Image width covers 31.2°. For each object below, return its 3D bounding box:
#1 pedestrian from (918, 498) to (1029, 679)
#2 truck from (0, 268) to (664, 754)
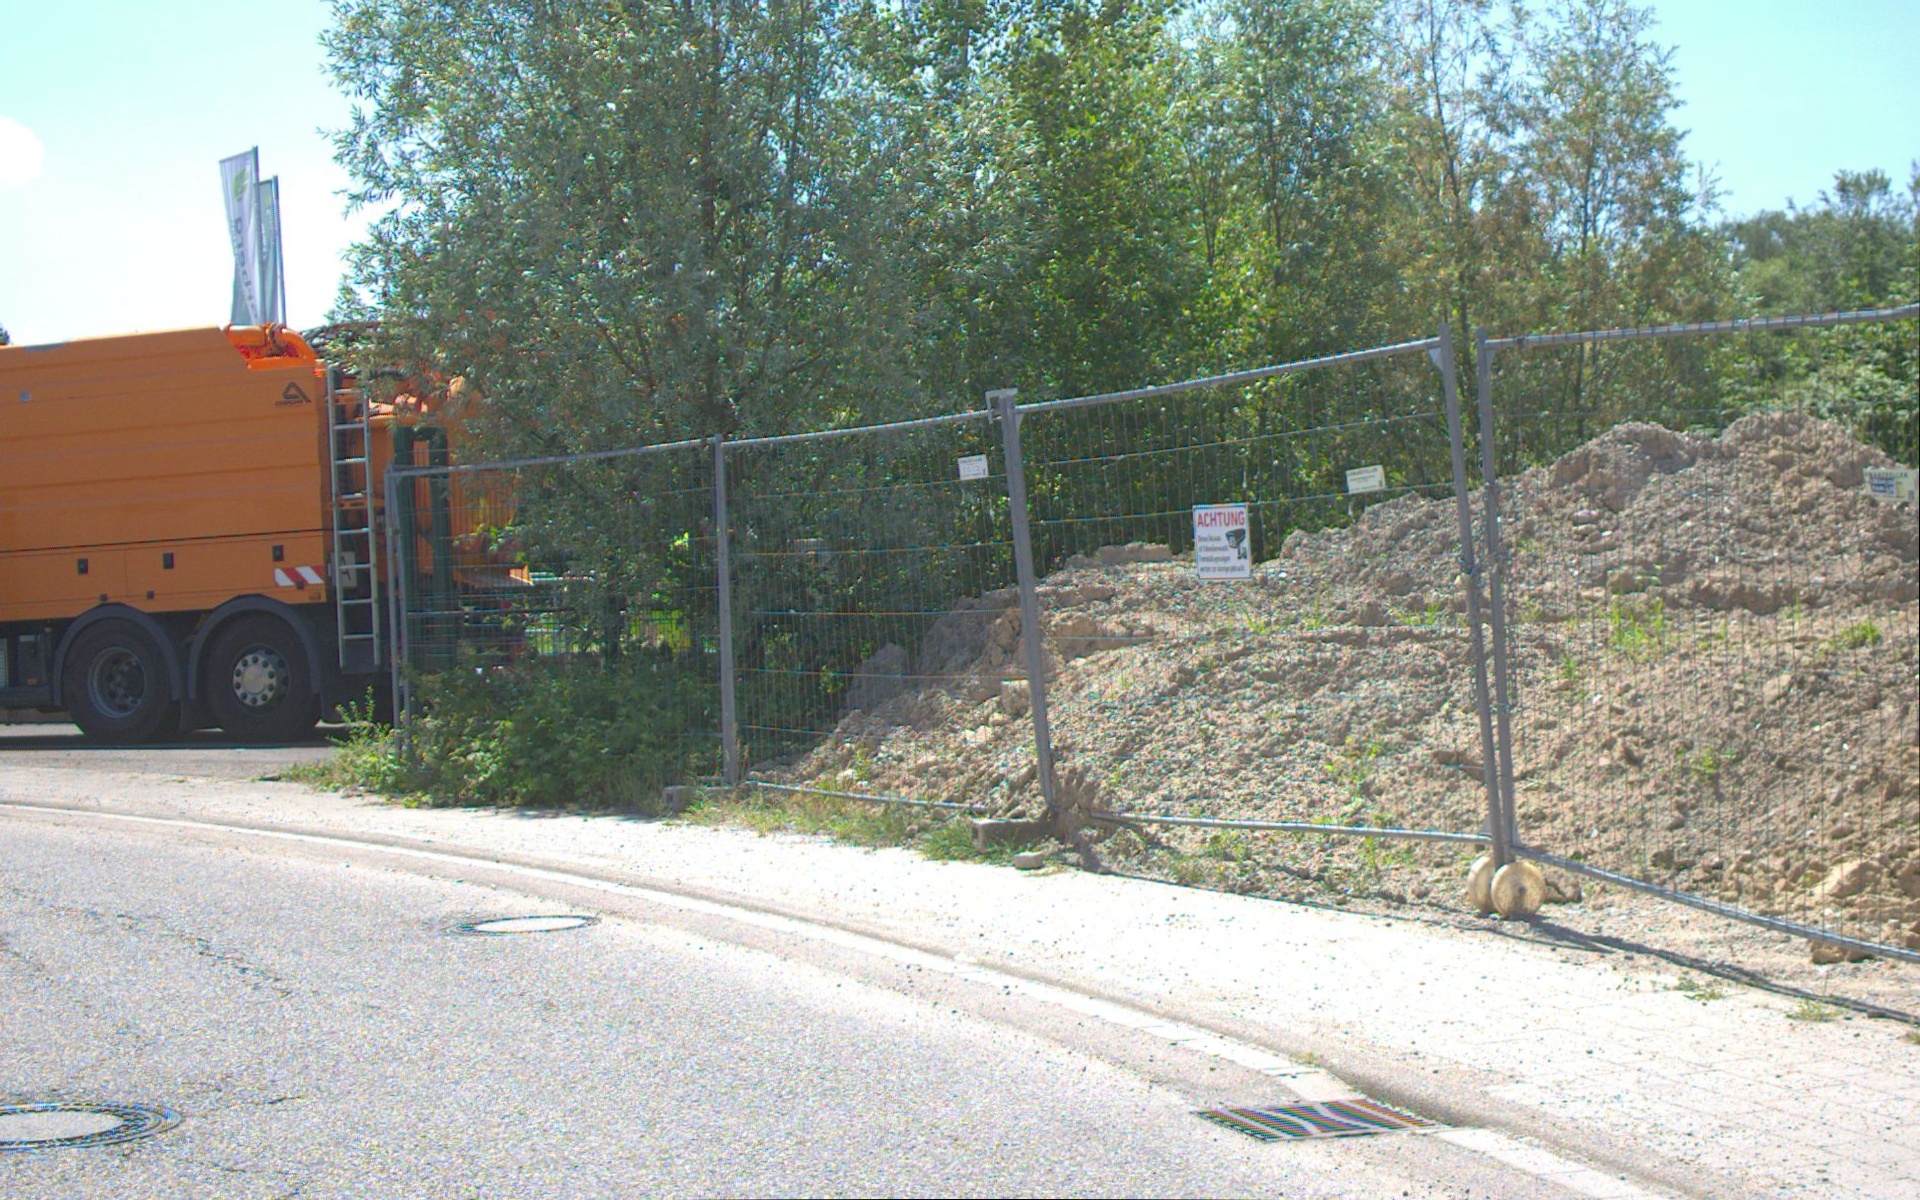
[{"bbox_3d":[0.144,-0.121,35.283,0.877,1.818,0.739,0,2,25],"label":"pedestrian"},{"bbox_3d":[-7.488,-0.681,30.614,8.593,3.793,4.160,-2,1,23],"label":"truck"}]
